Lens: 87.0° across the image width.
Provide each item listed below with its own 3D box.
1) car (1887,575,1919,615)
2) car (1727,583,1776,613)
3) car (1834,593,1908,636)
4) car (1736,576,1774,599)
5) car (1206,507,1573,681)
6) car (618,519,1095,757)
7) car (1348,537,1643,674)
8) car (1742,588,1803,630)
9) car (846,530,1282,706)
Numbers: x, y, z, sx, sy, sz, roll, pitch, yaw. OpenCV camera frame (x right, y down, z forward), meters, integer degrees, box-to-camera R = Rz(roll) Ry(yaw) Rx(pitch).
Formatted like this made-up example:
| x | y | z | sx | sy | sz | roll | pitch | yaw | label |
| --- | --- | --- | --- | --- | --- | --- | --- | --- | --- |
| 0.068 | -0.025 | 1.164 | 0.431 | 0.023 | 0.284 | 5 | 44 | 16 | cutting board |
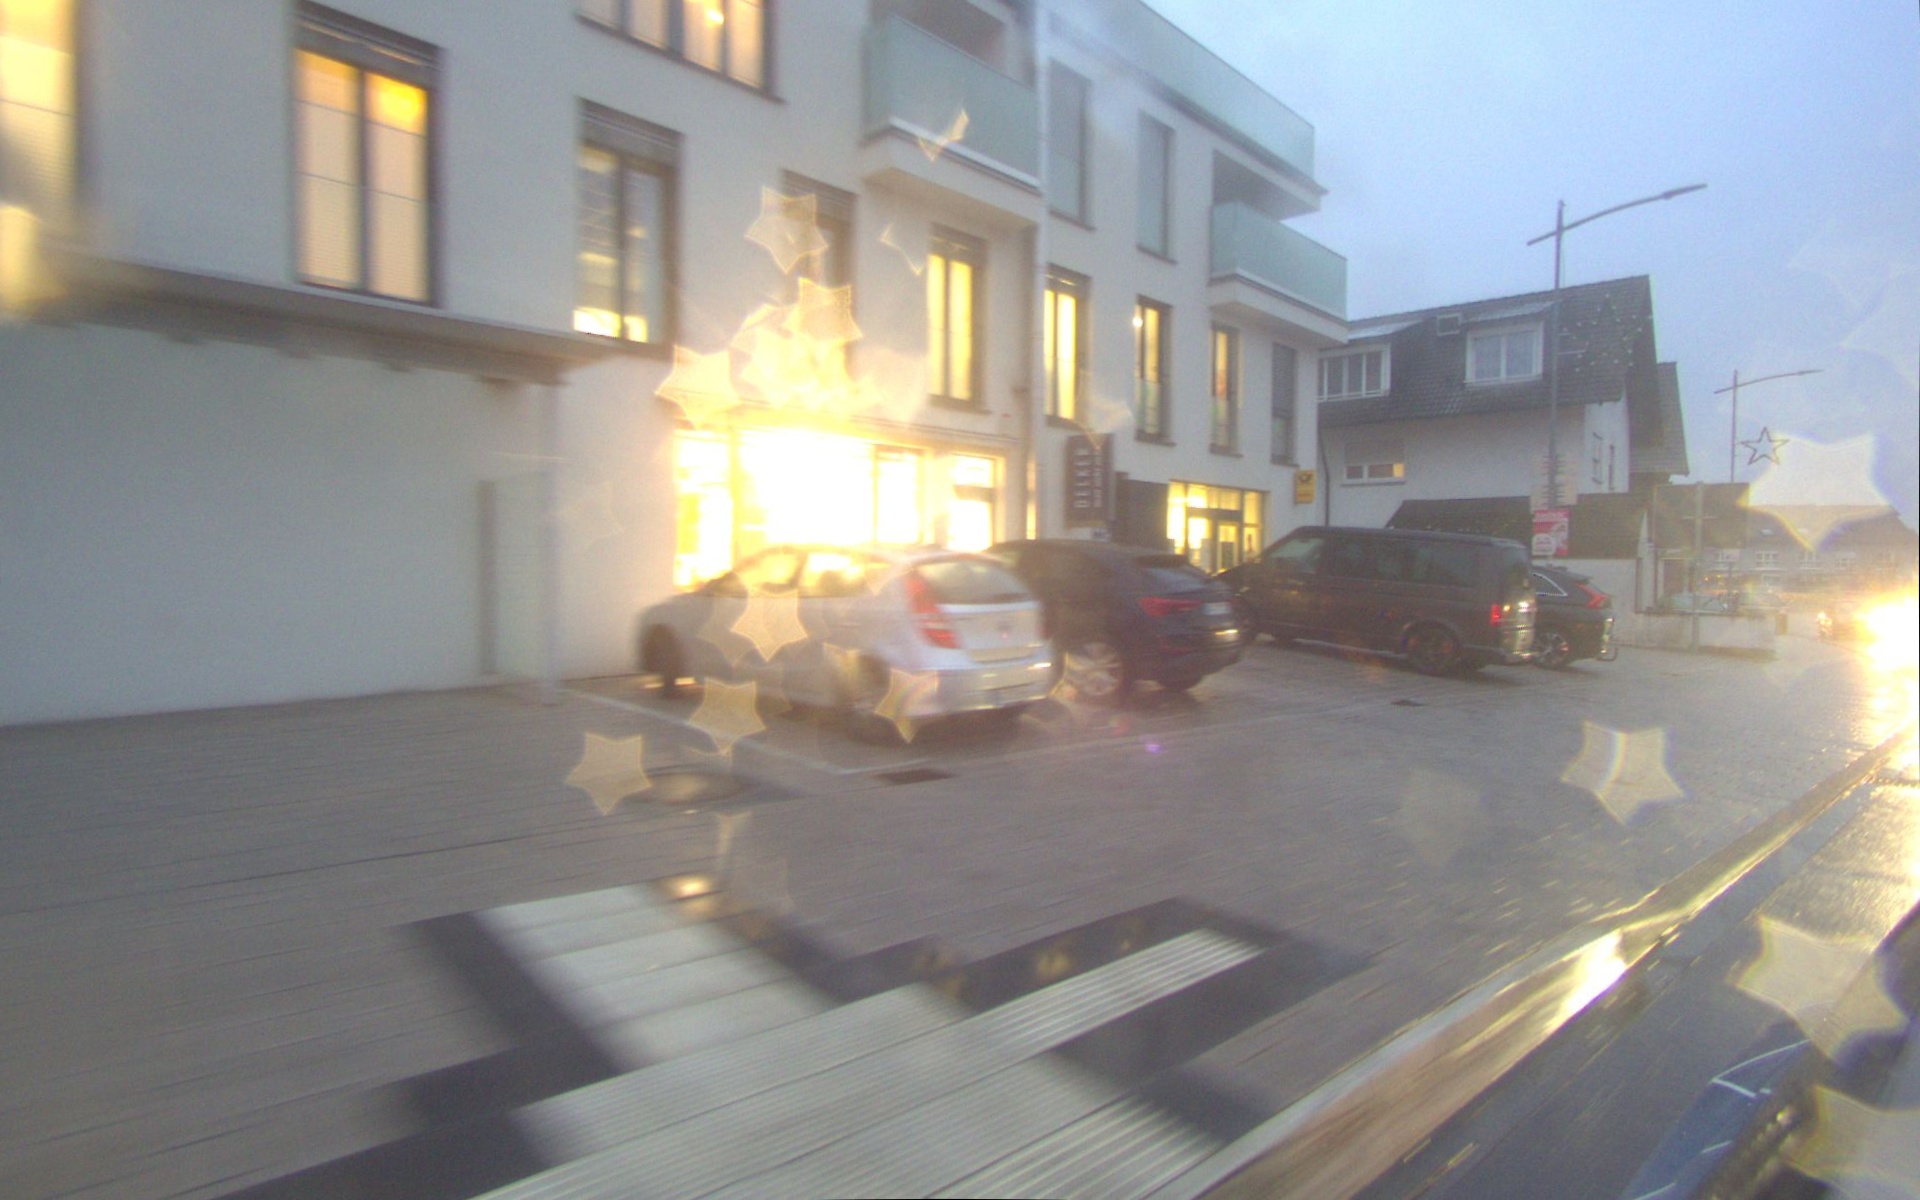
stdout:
| x | y | z | sx | sy | sz | roll | pitch | yaw | label |
| --- | --- | --- | --- | --- | --- | --- | --- | --- | --- |
| 51.400 | -0.286 | 53.963 | 1.982 | 2.039 | 3.960 | 0 | 1 | 28 | car |
| 36.572 | -0.107 | 46.821 | 1.487 | 1.307 | 3.251 | 2 | 1 | 33 | car |
| 33.561 | 0.494 | 37.382 | 1.733 | 1.461 | 3.945 | 0 | 0 | 38 | car |
| 71.120 | -1.129 | 90.547 | 1.982 | 2.039 | 3.960 | 0 | 1 | 28 | car |
| 6.298 | -0.210 | 15.243 | 1.943 | 1.956 | 4.547 | 1 | 7 | -45 | car |
| -1.018 | 0.105 | 8.728 | 3.981 | 1.520 | 1.790 | 5 | 7 | 38 | car |
| 9.190 | 0.007 | 17.542 | 4.135 | 1.653 | 1.731 | 11 | 7 | 37 | car |
| 33.143 | 0.340 | 41.262 | 1.841 | 1.606 | 3.714 | 2 | 1 | 40 | car |
| 0.952 | 0.024 | 11.093 | 4.509 | 1.510 | 1.944 | 4 | 4 | 43 | car |
